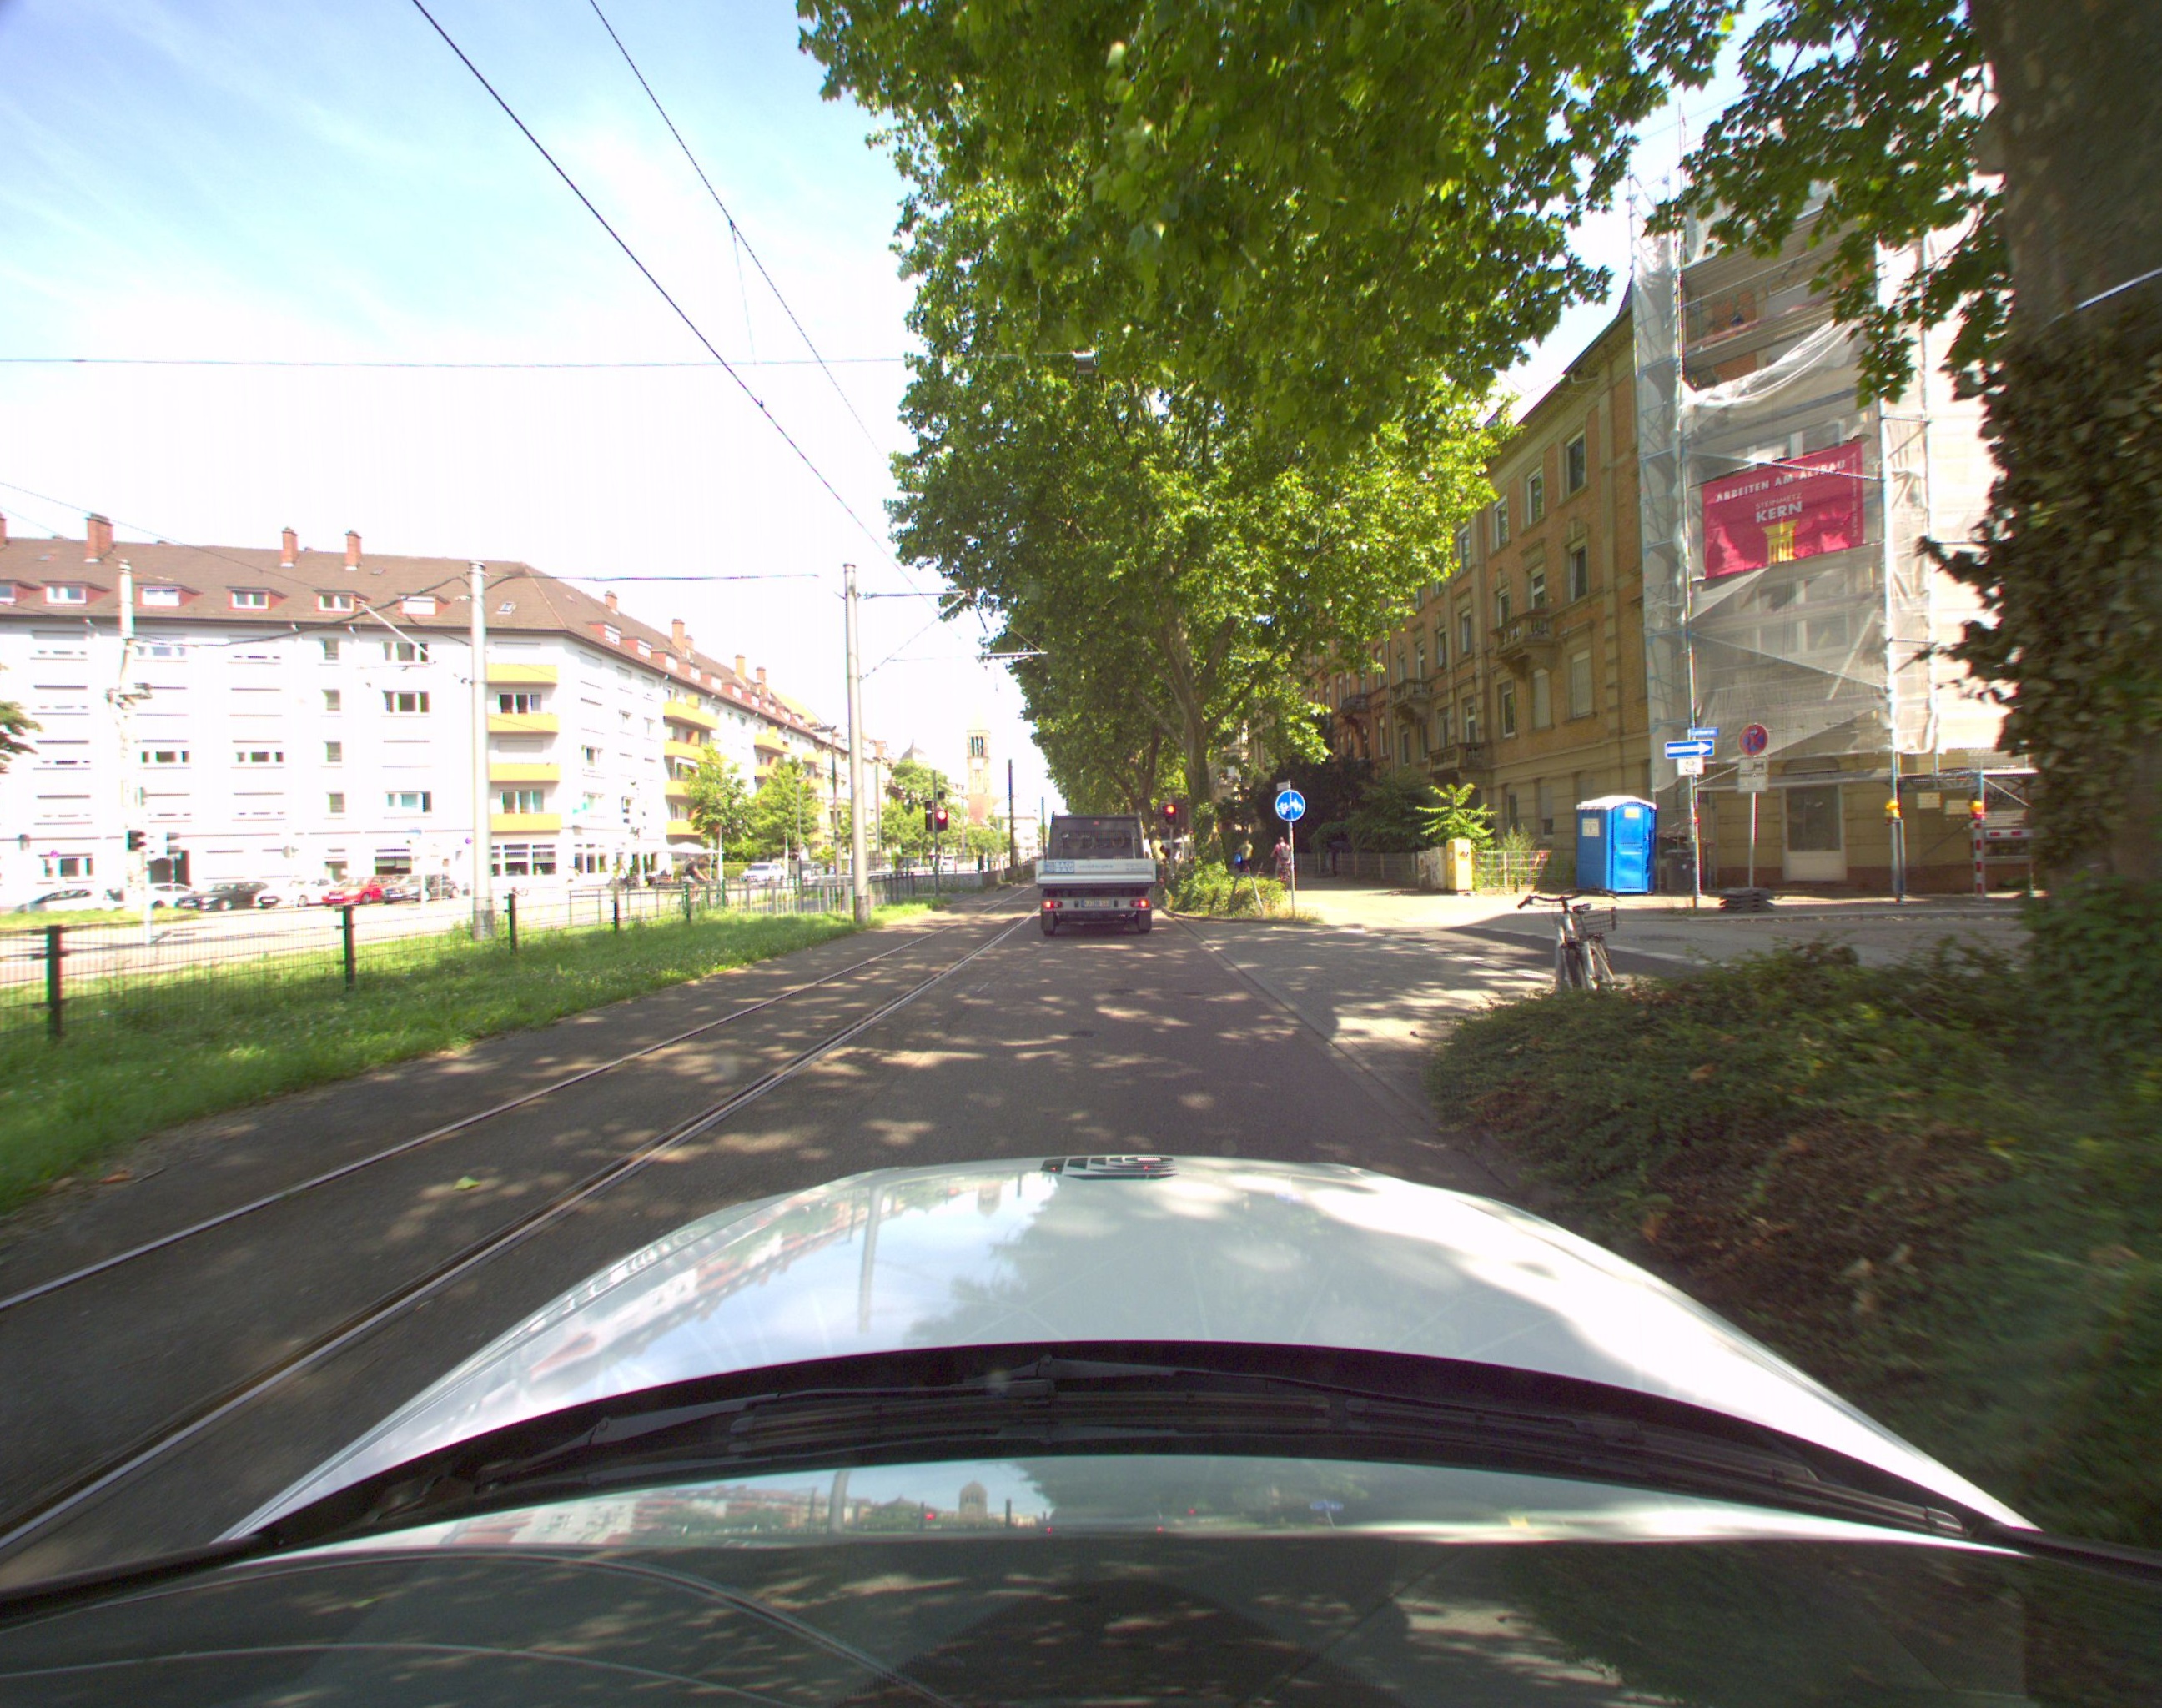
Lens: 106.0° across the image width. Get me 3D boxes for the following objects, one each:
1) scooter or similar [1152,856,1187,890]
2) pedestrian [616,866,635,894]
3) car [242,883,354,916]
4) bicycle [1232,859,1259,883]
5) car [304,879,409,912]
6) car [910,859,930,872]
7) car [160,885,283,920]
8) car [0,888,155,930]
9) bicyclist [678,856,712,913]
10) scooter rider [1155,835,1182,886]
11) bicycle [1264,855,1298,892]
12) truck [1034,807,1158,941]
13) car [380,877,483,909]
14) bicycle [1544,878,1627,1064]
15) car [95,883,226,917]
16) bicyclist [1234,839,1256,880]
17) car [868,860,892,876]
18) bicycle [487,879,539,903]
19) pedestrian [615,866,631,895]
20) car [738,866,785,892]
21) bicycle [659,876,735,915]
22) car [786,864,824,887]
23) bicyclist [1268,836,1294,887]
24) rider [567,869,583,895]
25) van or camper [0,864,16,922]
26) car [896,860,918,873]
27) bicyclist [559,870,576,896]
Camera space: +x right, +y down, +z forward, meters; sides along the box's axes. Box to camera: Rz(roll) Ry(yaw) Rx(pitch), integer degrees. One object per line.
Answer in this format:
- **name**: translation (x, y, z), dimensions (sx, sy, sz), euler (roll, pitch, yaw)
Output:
- **scooter or similar**: translation (3.253, 0.680, 29.967), dimensions (0.649, 1.204, 1.279), euler (-2, 0, 40)
- **pedestrian**: translation (-26.307, 1.472, 47.050), dimensions (0.861, 1.572, 0.685), euler (-2, 0, -23)
- **car**: translation (-39.643, 2.272, 41.365), dimensions (1.930, 1.406, 4.156), euler (-2, 0, -7)
- **bicycle**: translation (6.412, 0.653, 31.805), dimensions (0.672, 0.881, 2.164), euler (-2, 0, 2)
- **car**: translation (-36.861, 2.097, 41.584), dimensions (1.930, 1.406, 4.156), euler (-2, 0, -7)
- **car**: translation (-20.847, 1.465, 105.306), dimensions (1.765, 1.498, 3.999), euler (-2, 0, -1)
- **car**: translation (-42.176, 2.334, 40.115), dimensions (1.930, 1.406, 4.156), euler (-2, 0, -7)
- **car**: translation (-40.953, 2.212, 33.207), dimensions (3.749, 1.406, 1.824), euler (-2, 0, -16)
- **bicyclist**: translation (-11.287, 0.879, 23.833), dimensions (0.692, 1.623, 0.623), euler (-2, 0, -7)
- **scooter rider**: translation (3.229, 0.236, 29.967), dimensions (0.655, 1.867, 0.673), euler (-2, 0, 40)
- **bicycle**: translation (6.327, 0.593, 25.838), dimensions (0.563, 1.112, 2.311), euler (-2, 0, 2)
- **truck**: translation (0.323, 0.344, 16.243), dimensions (2.130, 2.319, 4.403), euler (0, 0, 2)
- **car**: translation (-33.512, 1.984, 42.217), dimensions (1.830, 1.376, 4.635), euler (-2, 0, -5)
- **bicycle**: translation (3.659, 0.764, 5.941), dimensions (0.417, 1.105, 1.627), euler (-2, 0, 31)
- **car**: translation (-44.953, 2.208, 39.914), dimensions (1.930, 1.406, 4.156), euler (-2, 0, -7)
- **bicyclist**: translation (6.396, 0.208, 31.809), dimensions (0.678, 1.563, 0.777), euler (-2, 0, 2)
- **car**: translation (-20.696, 1.442, 84.102), dimensions (1.768, 1.498, 3.993), euler (-2, 0, -5)
- **bicycle**: translation (-30.474, 1.955, 43.736), dimensions (0.908, 1.137, 2.806), euler (-2, 0, -3)
- **pedestrian**: translation (-26.098, 1.509, 46.445), dimensions (0.691, 1.572, 0.542), euler (-2, 0, -23)
- **car**: translation (-21.084, 1.611, 53.879), dimensions (1.768, 1.498, 3.993), euler (-3, 0, -5)
- **bicycle**: translation (-11.215, 1.213, 23.833), dimensions (1.918, 1.049, 0.531), euler (-2, 0, -7)
- **car**: translation (-21.094, 1.623, 62.325), dimensions (1.768, 1.498, 3.993), euler (-3, 0, -5)
- **bicyclist**: translation (6.303, 0.241, 25.687), dimensions (0.635, 1.573, 0.580), euler (-2, 0, 2)
- **rider**: translation (-28.908, 1.600, 46.509), dimensions (0.624, 1.423, 0.587), euler (-2, 0, -16)
- **van or camper**: translation (-46.721, 1.682, 31.988), dimensions (5.762, 2.329, 2.235), euler (-2, 0, -13)
- **car**: translation (-20.787, 1.457, 97.468), dimensions (1.765, 1.498, 3.999), euler (-2, 0, -1)
- **bicyclist**: translation (-28.906, 1.636, 45.874), dimensions (0.624, 1.423, 0.587), euler (-2, 0, -16)
